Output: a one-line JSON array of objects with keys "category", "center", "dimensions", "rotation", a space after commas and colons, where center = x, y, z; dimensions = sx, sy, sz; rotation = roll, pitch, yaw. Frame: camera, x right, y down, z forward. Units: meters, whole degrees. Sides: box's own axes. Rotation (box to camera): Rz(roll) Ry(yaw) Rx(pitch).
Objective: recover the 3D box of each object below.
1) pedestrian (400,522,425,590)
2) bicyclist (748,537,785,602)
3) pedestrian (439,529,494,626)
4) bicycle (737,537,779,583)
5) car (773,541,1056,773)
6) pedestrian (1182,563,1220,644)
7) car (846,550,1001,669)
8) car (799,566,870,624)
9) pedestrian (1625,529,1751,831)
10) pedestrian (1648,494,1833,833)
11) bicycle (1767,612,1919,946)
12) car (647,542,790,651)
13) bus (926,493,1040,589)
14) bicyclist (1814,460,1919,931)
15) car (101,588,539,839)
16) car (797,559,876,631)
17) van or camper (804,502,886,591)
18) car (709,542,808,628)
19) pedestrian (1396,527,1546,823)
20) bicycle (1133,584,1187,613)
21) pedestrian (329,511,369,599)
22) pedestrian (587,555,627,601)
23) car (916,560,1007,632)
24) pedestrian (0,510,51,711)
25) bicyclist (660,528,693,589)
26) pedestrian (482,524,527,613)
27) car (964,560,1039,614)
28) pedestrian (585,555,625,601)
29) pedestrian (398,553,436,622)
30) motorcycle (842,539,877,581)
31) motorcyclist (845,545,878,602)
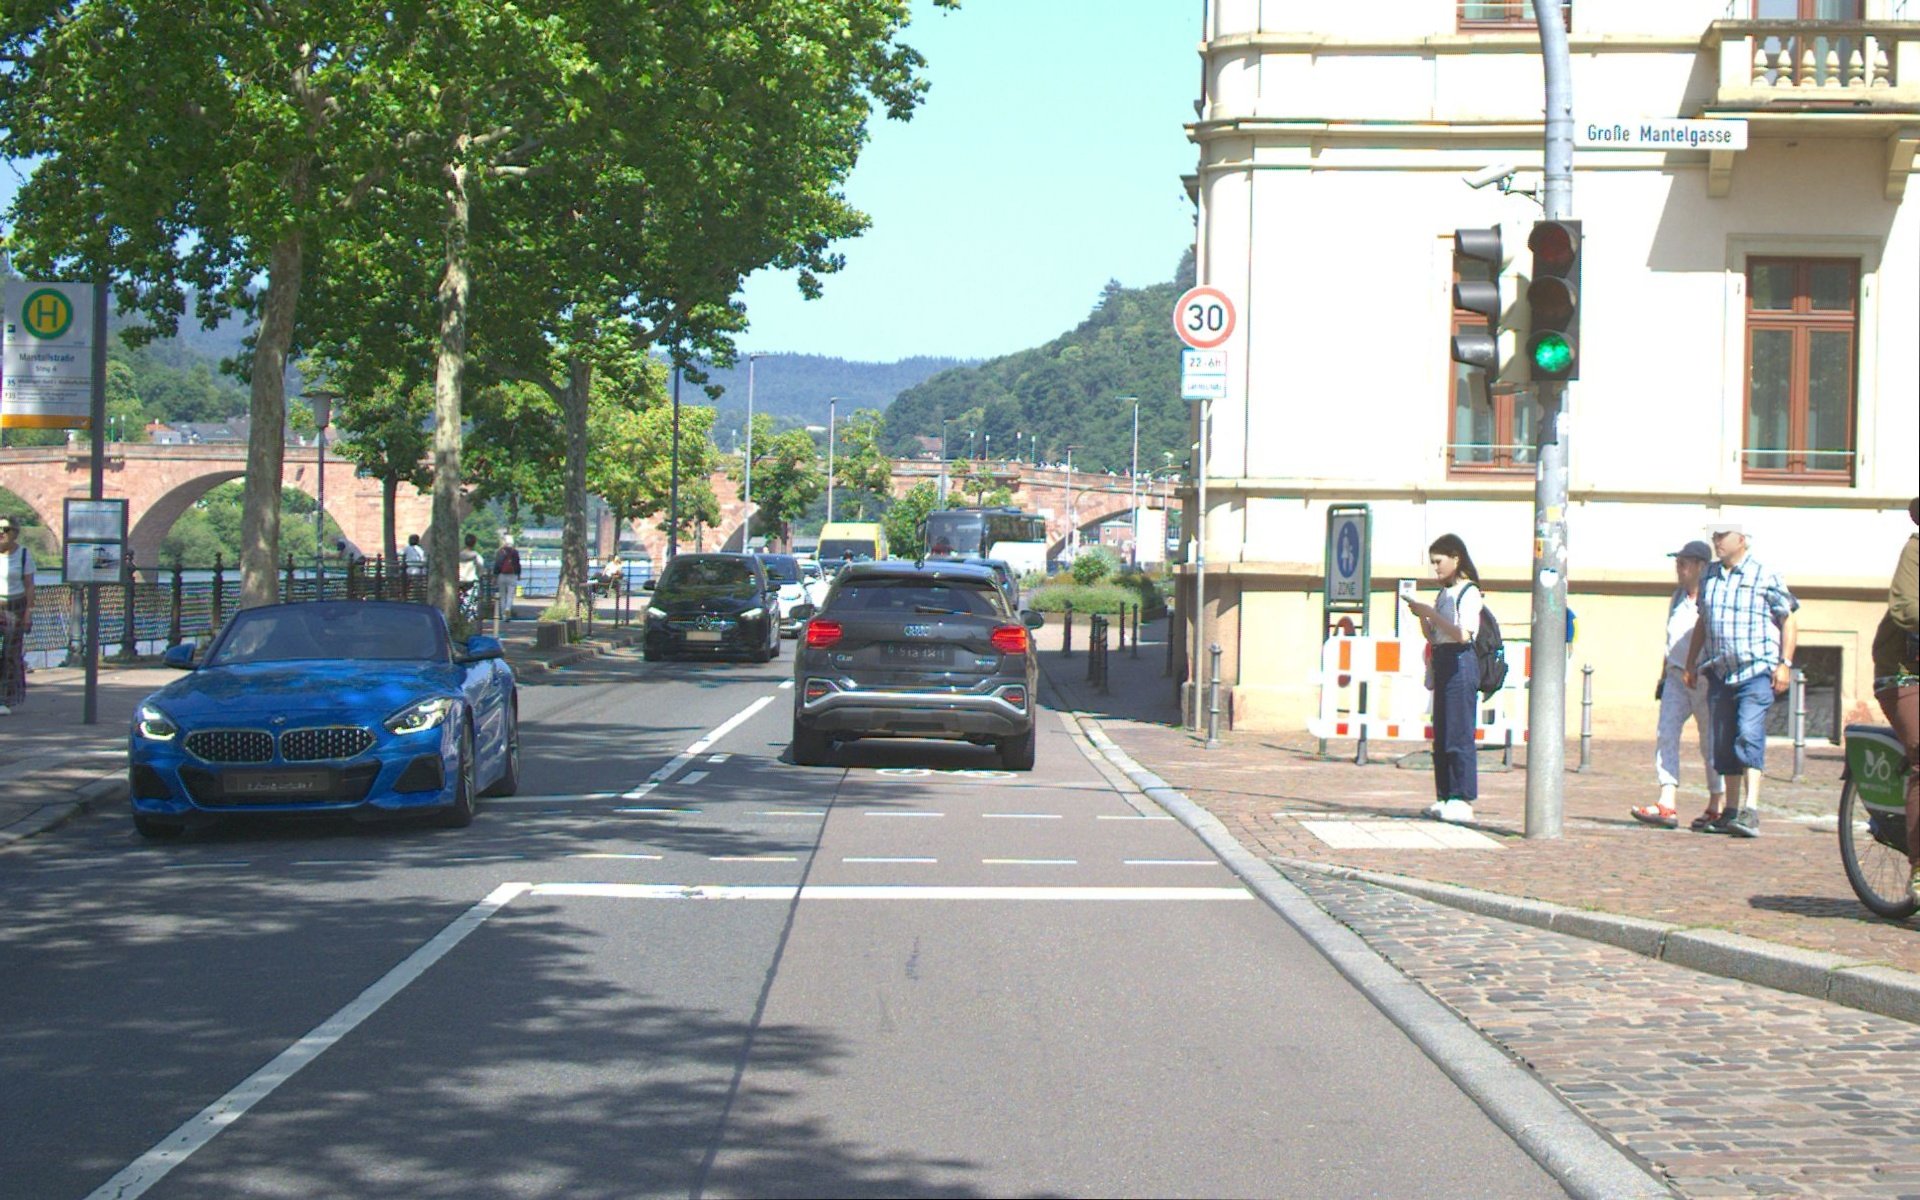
[{"category": "pedestrian", "center": [-13.033, -1.048, 81.846], "dimensions": [0.414, 1.592, 0.450], "rotation": [2, 0, 7]}, {"category": "bicyclist", "center": [-4.779, -0.749, 84.876], "dimensions": [0.766, 1.526, 1.025], "rotation": [3, 2, 2]}, {"category": "pedestrian", "center": [-8.182, -0.376, 57.009], "dimensions": [0.761, 1.581, 0.696], "rotation": [2, 0, -1]}, {"category": "bicycle", "center": [-4.997, -0.994, 85.130], "dimensions": [0.740, 1.073, 1.953], "rotation": [3, 1, 4]}, {"category": "car", "center": [-0.394, 0.369, 26.509], "dimensions": [1.926, 1.548, 4.832], "rotation": [2, 1, -2]}, {"category": "pedestrian", "center": [5.147, 0.081, 73.433], "dimensions": [0.762, 1.708, 0.696], "rotation": [-1, 0, 3]}, {"category": "car", "center": [-0.476, 0.087, 46.113], "dimensions": [1.926, 1.456, 4.832], "rotation": [2, 1, 0]}, {"category": "car", "center": [-3.298, -0.138, 90.915], "dimensions": [1.701, 1.453, 4.002], "rotation": [1, 0, 0]}, {"category": "pedestrian", "center": [4.210, 0.453, 19.899], "dimensions": [0.526, 1.706, 0.665], "rotation": [2, 0, -1]}, {"category": "pedestrian", "center": [4.359, 0.345, 19.211], "dimensions": [0.616, 1.846, 0.730], "rotation": [2, 0, -35]}, {"category": "bicycle", "center": [3.588, 0.628, 12.205], "dimensions": [0.688, 1.126, 2.010], "rotation": [2, 0, -8]}, {"category": "car", "center": [-3.487, -0.068, 50.317], "dimensions": [1.701, 1.513, 4.404], "rotation": [0, 0, 1]}, {"category": "bus", "center": [1.052, -2.321, 141.294], "dimensions": [2.632, 3.552, 12.977], "rotation": [2, 0, 9]}, {"category": "bicyclist", "center": [3.589, 0.333, 12.303], "dimensions": [0.709, 1.622, 0.887], "rotation": [2, 0, -8]}, {"category": "car", "center": [-3.639, 0.593, 20.285], "dimensions": [1.840, 1.265, 4.262], "rotation": [-2, 0, -1]}, {"category": "car", "center": [-2.837, -0.136, 79.131], "dimensions": [1.701, 1.440, 4.092], "rotation": [3, 2, -2]}, {"category": "van or camper", "center": [-3.487, -1.614, 105.333], "dimensions": [2.087, 2.548, 7.092], "rotation": [2, 0, 1]}, {"category": "car", "center": [-3.777, -0.287, 63.927], "dimensions": [1.735, 1.513, 4.405], "rotation": [1, 0, -5]}, {"category": "pedestrian", "center": [2.968, 0.426, 20.006], "dimensions": [0.715, 1.670, 0.682], "rotation": [2, 0, -1]}, {"category": "bicycle", "center": [6.931, -0.058, 119.192], "dimensions": [1.810, 0.875, 0.502], "rotation": [4, 1, 4]}, {"category": "pedestrian", "center": [-13.729, -1.003, 77.292], "dimensions": [0.693, 1.938, 0.887], "rotation": [2, 0, -1]}, {"category": "pedestrian", "center": [-10.203, -0.638, 99.348], "dimensions": [0.937, 1.276, 0.849], "rotation": [2, 0, 9]}, {"category": "car", "center": [0.059, -0.113, 76.947], "dimensions": [1.926, 1.548, 4.832], "rotation": [1, 1, 1]}, {"category": "pedestrian", "center": [-7.848, 0.077, 28.188], "dimensions": [0.493, 1.612, 0.991], "rotation": [2, 0, -1]}, {"category": "bicyclist", "center": [-7.451, -1.078, 90.389], "dimensions": [0.719, 1.578, 1.089], "rotation": [2, 0, 2]}, {"category": "pedestrian", "center": [-8.807, -0.610, 66.496], "dimensions": [0.656, 1.676, 0.758], "rotation": [4, 0, -1]}, {"category": "car", "center": [1.261, -0.411, 103.434], "dimensions": [1.927, 1.548, 4.831], "rotation": [1, 1, 4]}, {"category": "pedestrian", "center": [-10.228, -0.638, 99.147], "dimensions": [0.937, 1.276, 0.849], "rotation": [2, 0, 9]}, {"category": "pedestrian", "center": [-12.968, -0.296, 82.070], "dimensions": [0.694, 1.610, 0.663], "rotation": [2, 0, 7]}, {"category": "motorcycle", "center": [-2.848, -1.140, 97.108], "dimensions": [0.883, 1.073, 2.329], "rotation": [1, 3, -4]}, {"category": "motorcyclist", "center": [-2.768, -0.747, 96.531], "dimensions": [0.878, 1.578, 1.025], "rotation": [2, 0, -1]}]
